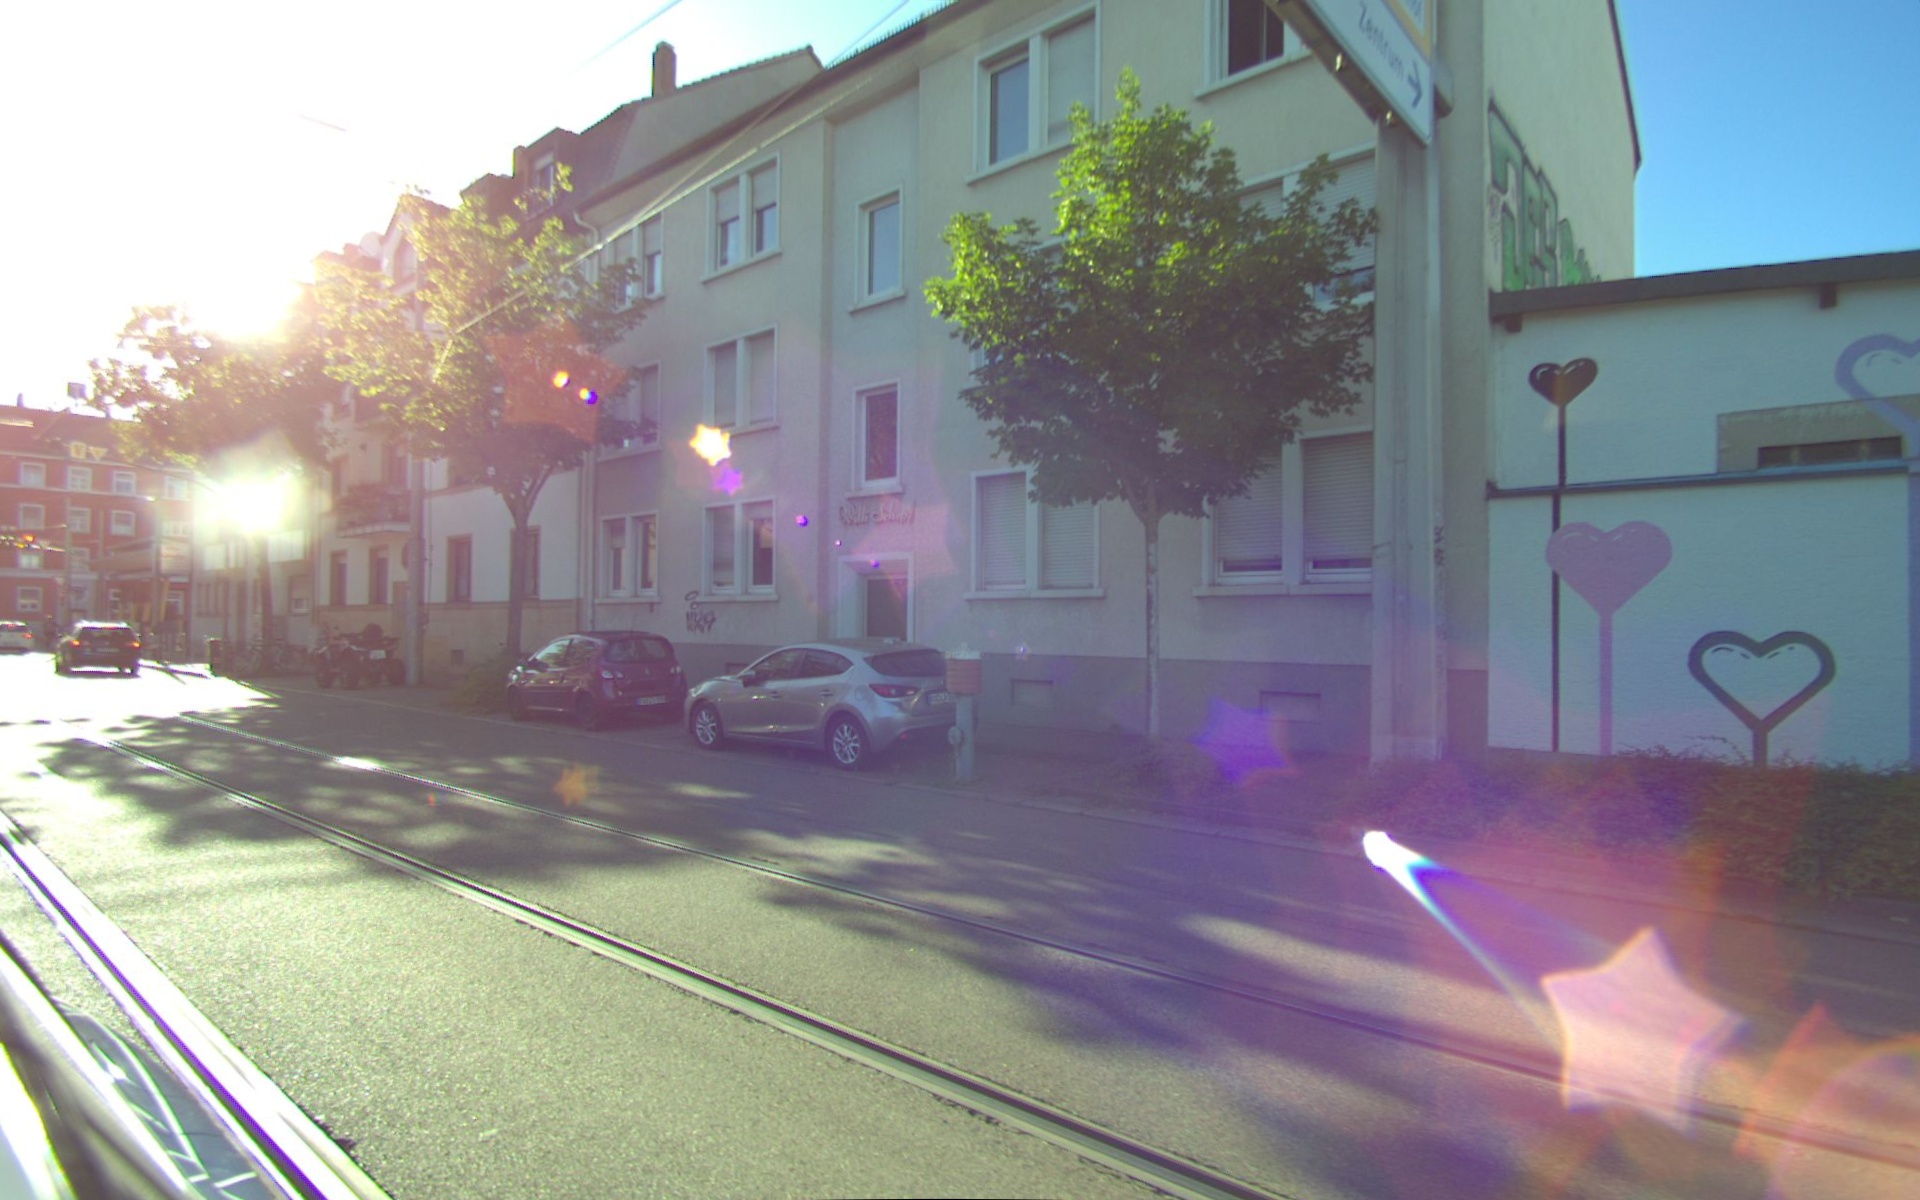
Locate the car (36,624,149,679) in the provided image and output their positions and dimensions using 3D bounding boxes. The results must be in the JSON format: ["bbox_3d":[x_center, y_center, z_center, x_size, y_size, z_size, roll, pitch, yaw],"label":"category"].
[{"bbox_3d":[-25.795,1.485,30.031,4.743,1.474,1.748,0,-3,40],"label":"car"}]

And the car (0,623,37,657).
[{"bbox_3d":[-45.497,1.862,48.144,3.998,1.537,1.898,-1,-1,41],"label":"car"}]

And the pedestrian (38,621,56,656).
[{"bbox_3d":[-46.897,1.962,51.977,0.583,1.787,0.631,-1,-1,41],"label":"pedestrian"}]

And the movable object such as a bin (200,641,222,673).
[{"bbox_3d":[-22.760,1.730,30.764,0.582,0.942,0.420,-1,-1,41],"label":"movable object such as a bin"}]

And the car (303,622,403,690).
[{"bbox_3d":[-14.502,1.340,24.156,2.545,1.514,1.341,-4,-3,41],"label":"car"}]

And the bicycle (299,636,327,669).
[{"bbox_3d":[-21.122,1.699,33.025,1.661,1.050,0.300,-1,-1,41],"label":"bicycle"}]

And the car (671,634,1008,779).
[{"bbox_3d":[-1.644,1.192,12.796,4.291,1.440,1.854,-1,-1,41],"label":"car"}]

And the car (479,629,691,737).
[{"bbox_3d":[-6.214,1.257,16.575,3.998,1.516,1.555,-1,-1,41],"label":"car"}]

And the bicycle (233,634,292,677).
[{"bbox_3d":[-19.881,1.572,28.859,0.409,1.178,1.326,-1,-1,41],"label":"bicycle"}]

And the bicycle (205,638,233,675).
[{"bbox_3d":[-21.909,1.652,29.922,1.661,1.050,0.300,-1,-1,41],"label":"bicycle"}]
